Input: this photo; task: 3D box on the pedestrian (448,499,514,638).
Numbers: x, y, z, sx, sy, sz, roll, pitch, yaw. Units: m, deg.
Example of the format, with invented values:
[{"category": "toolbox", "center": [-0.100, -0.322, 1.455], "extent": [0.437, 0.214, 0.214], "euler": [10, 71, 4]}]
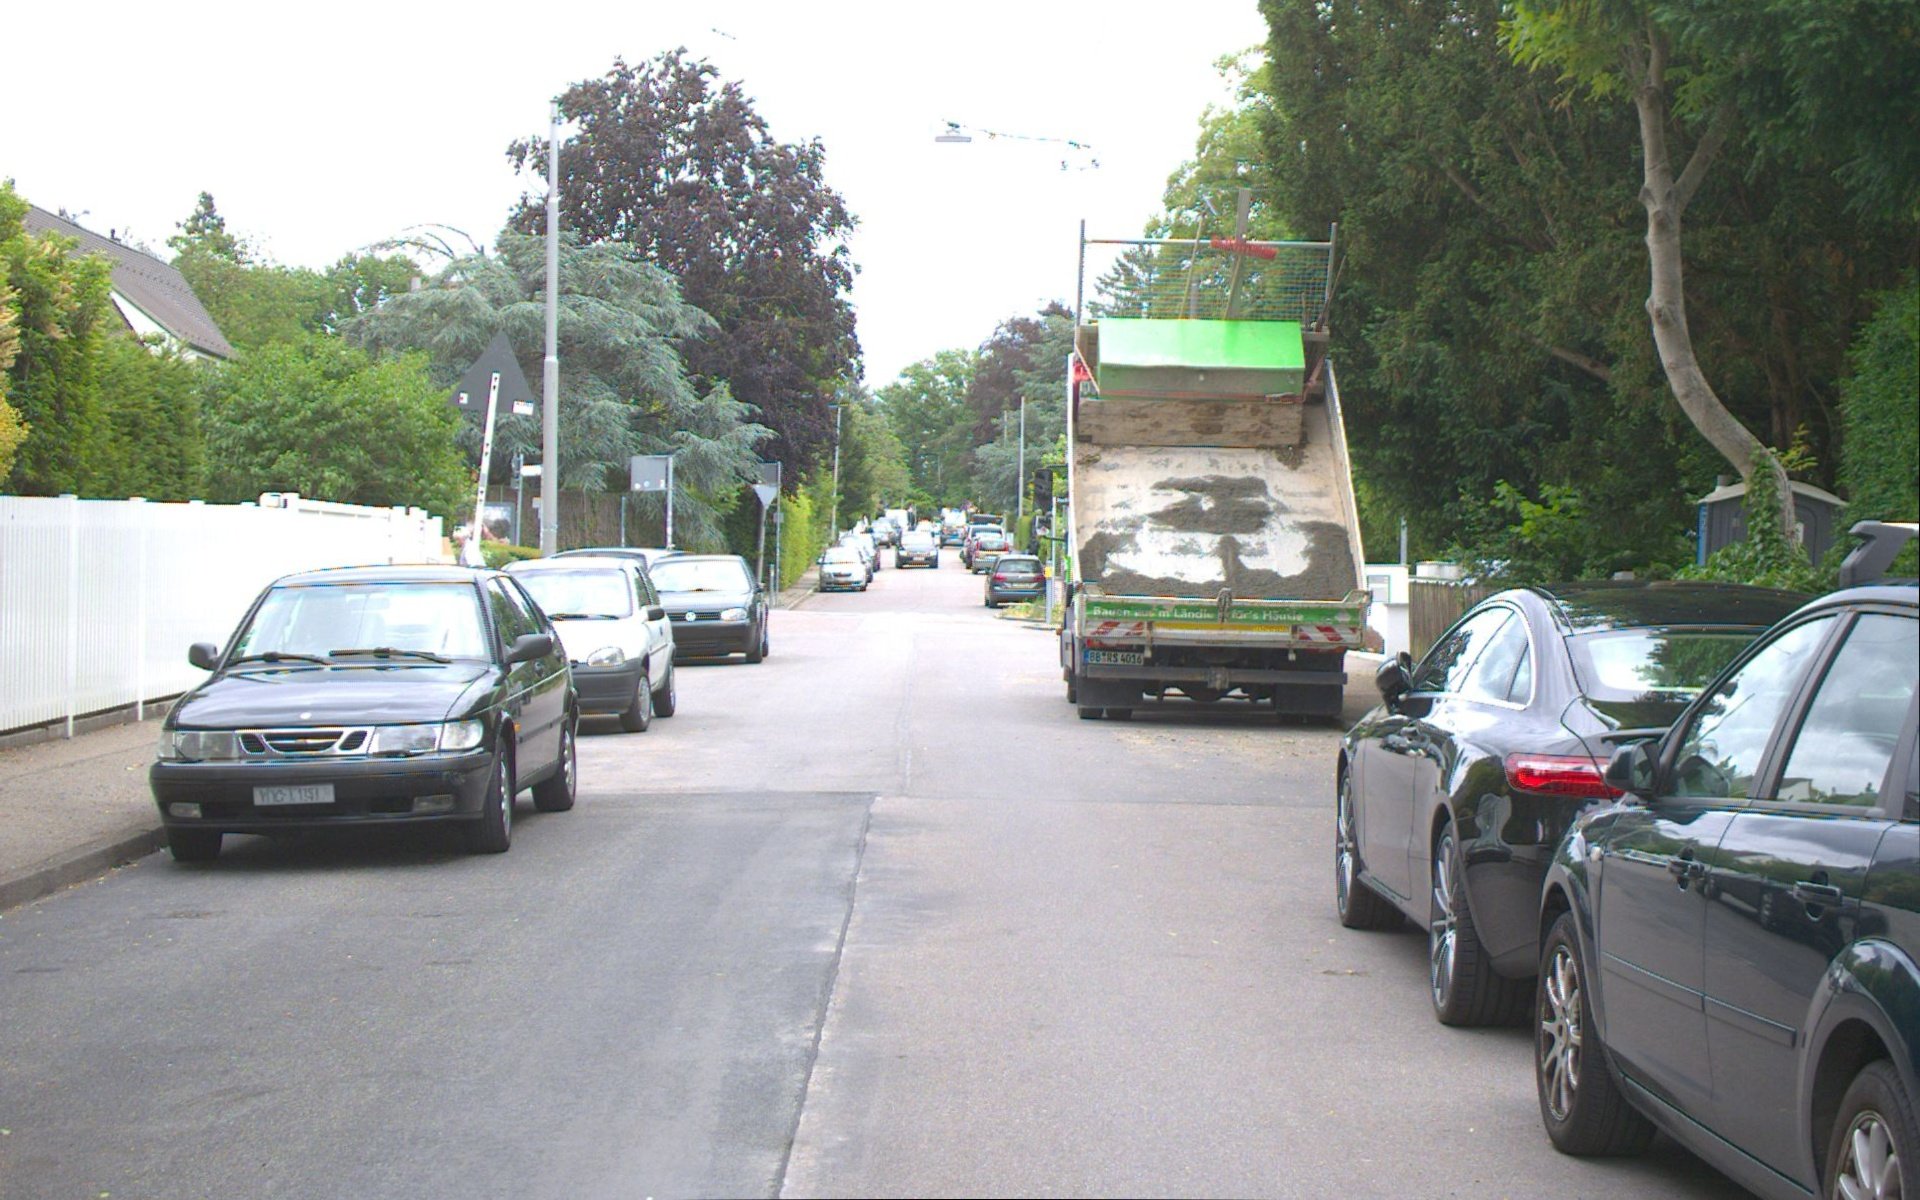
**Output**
[{"category": "pedestrian", "center": [-7.117, -0.472, 51.077], "extent": [0.852, 2.007, 0.701], "euler": [2, 1, -5]}]

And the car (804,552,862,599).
[{"category": "car", "center": [-4.469, -0.873, 121.539], "extent": [1.711, 1.580, 4.000], "euler": [1, 1, 2]}]

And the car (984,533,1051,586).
[{"category": "car", "center": [1.689, -1.213, 101.770], "extent": [1.778, 1.484, 4.000], "euler": [1, 1, -1]}]

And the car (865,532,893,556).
[{"category": "car", "center": [-4.928, -3.439, 210.081], "extent": [1.626, 1.381, 3.599], "euler": [3, 1, -1]}]

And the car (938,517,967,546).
[{"category": "car", "center": [-0.468, -4.201, 210.007], "extent": [1.633, 1.695, 3.495], "euler": [1, 2, -1]}]

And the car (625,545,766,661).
[{"category": "car", "center": [-3.438, 0.008, 45.265], "extent": [1.637, 1.390, 3.989], "euler": [-1, 1, -2]}]

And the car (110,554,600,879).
[{"category": "car", "center": [-3.048, 0.512, 18.227], "extent": [1.641, 1.417, 4.549], "euler": [-2, 1, 2]}]

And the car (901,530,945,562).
[{"category": "car", "center": [-1.651, -2.445, 154.545], "extent": [1.728, 1.402, 3.803], "euler": [1, 1, 4]}]

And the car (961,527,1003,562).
[{"category": "car", "center": [1.005, -2.505, 154.183], "extent": [1.789, 1.524, 3.734], "euler": [1, 1, 1]}]

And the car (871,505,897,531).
[{"category": "car", "center": [-5.662, -6.143, 257.162], "extent": [1.817, 1.875, 4.000], "euler": [3, 1, -1]}]

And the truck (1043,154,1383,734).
[{"category": "truck", "center": [2.178, -1.364, 32.063], "extent": [2.524, 4.732, 7.187], "euler": [2, 1, 0]}]

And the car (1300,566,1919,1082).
[{"category": "car", "center": [2.312, 0.640, 12.402], "extent": [1.652, 1.419, 4.661], "euler": [2, 1, 0]}]

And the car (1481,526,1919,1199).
[{"category": "car", "center": [2.349, 0.633, 7.218], "extent": [1.698, 1.565, 4.309], "euler": [0, 1, -2]}]

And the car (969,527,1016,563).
[{"category": "car", "center": [1.354, -2.331, 145.316], "extent": [1.810, 1.331, 3.633], "euler": [2, 2, -1]}]

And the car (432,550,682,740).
[{"category": "car", "center": [-3.342, 0.327, 29.145], "extent": [1.596, 1.428, 4.000], "euler": [-1, 1, 0]}]
